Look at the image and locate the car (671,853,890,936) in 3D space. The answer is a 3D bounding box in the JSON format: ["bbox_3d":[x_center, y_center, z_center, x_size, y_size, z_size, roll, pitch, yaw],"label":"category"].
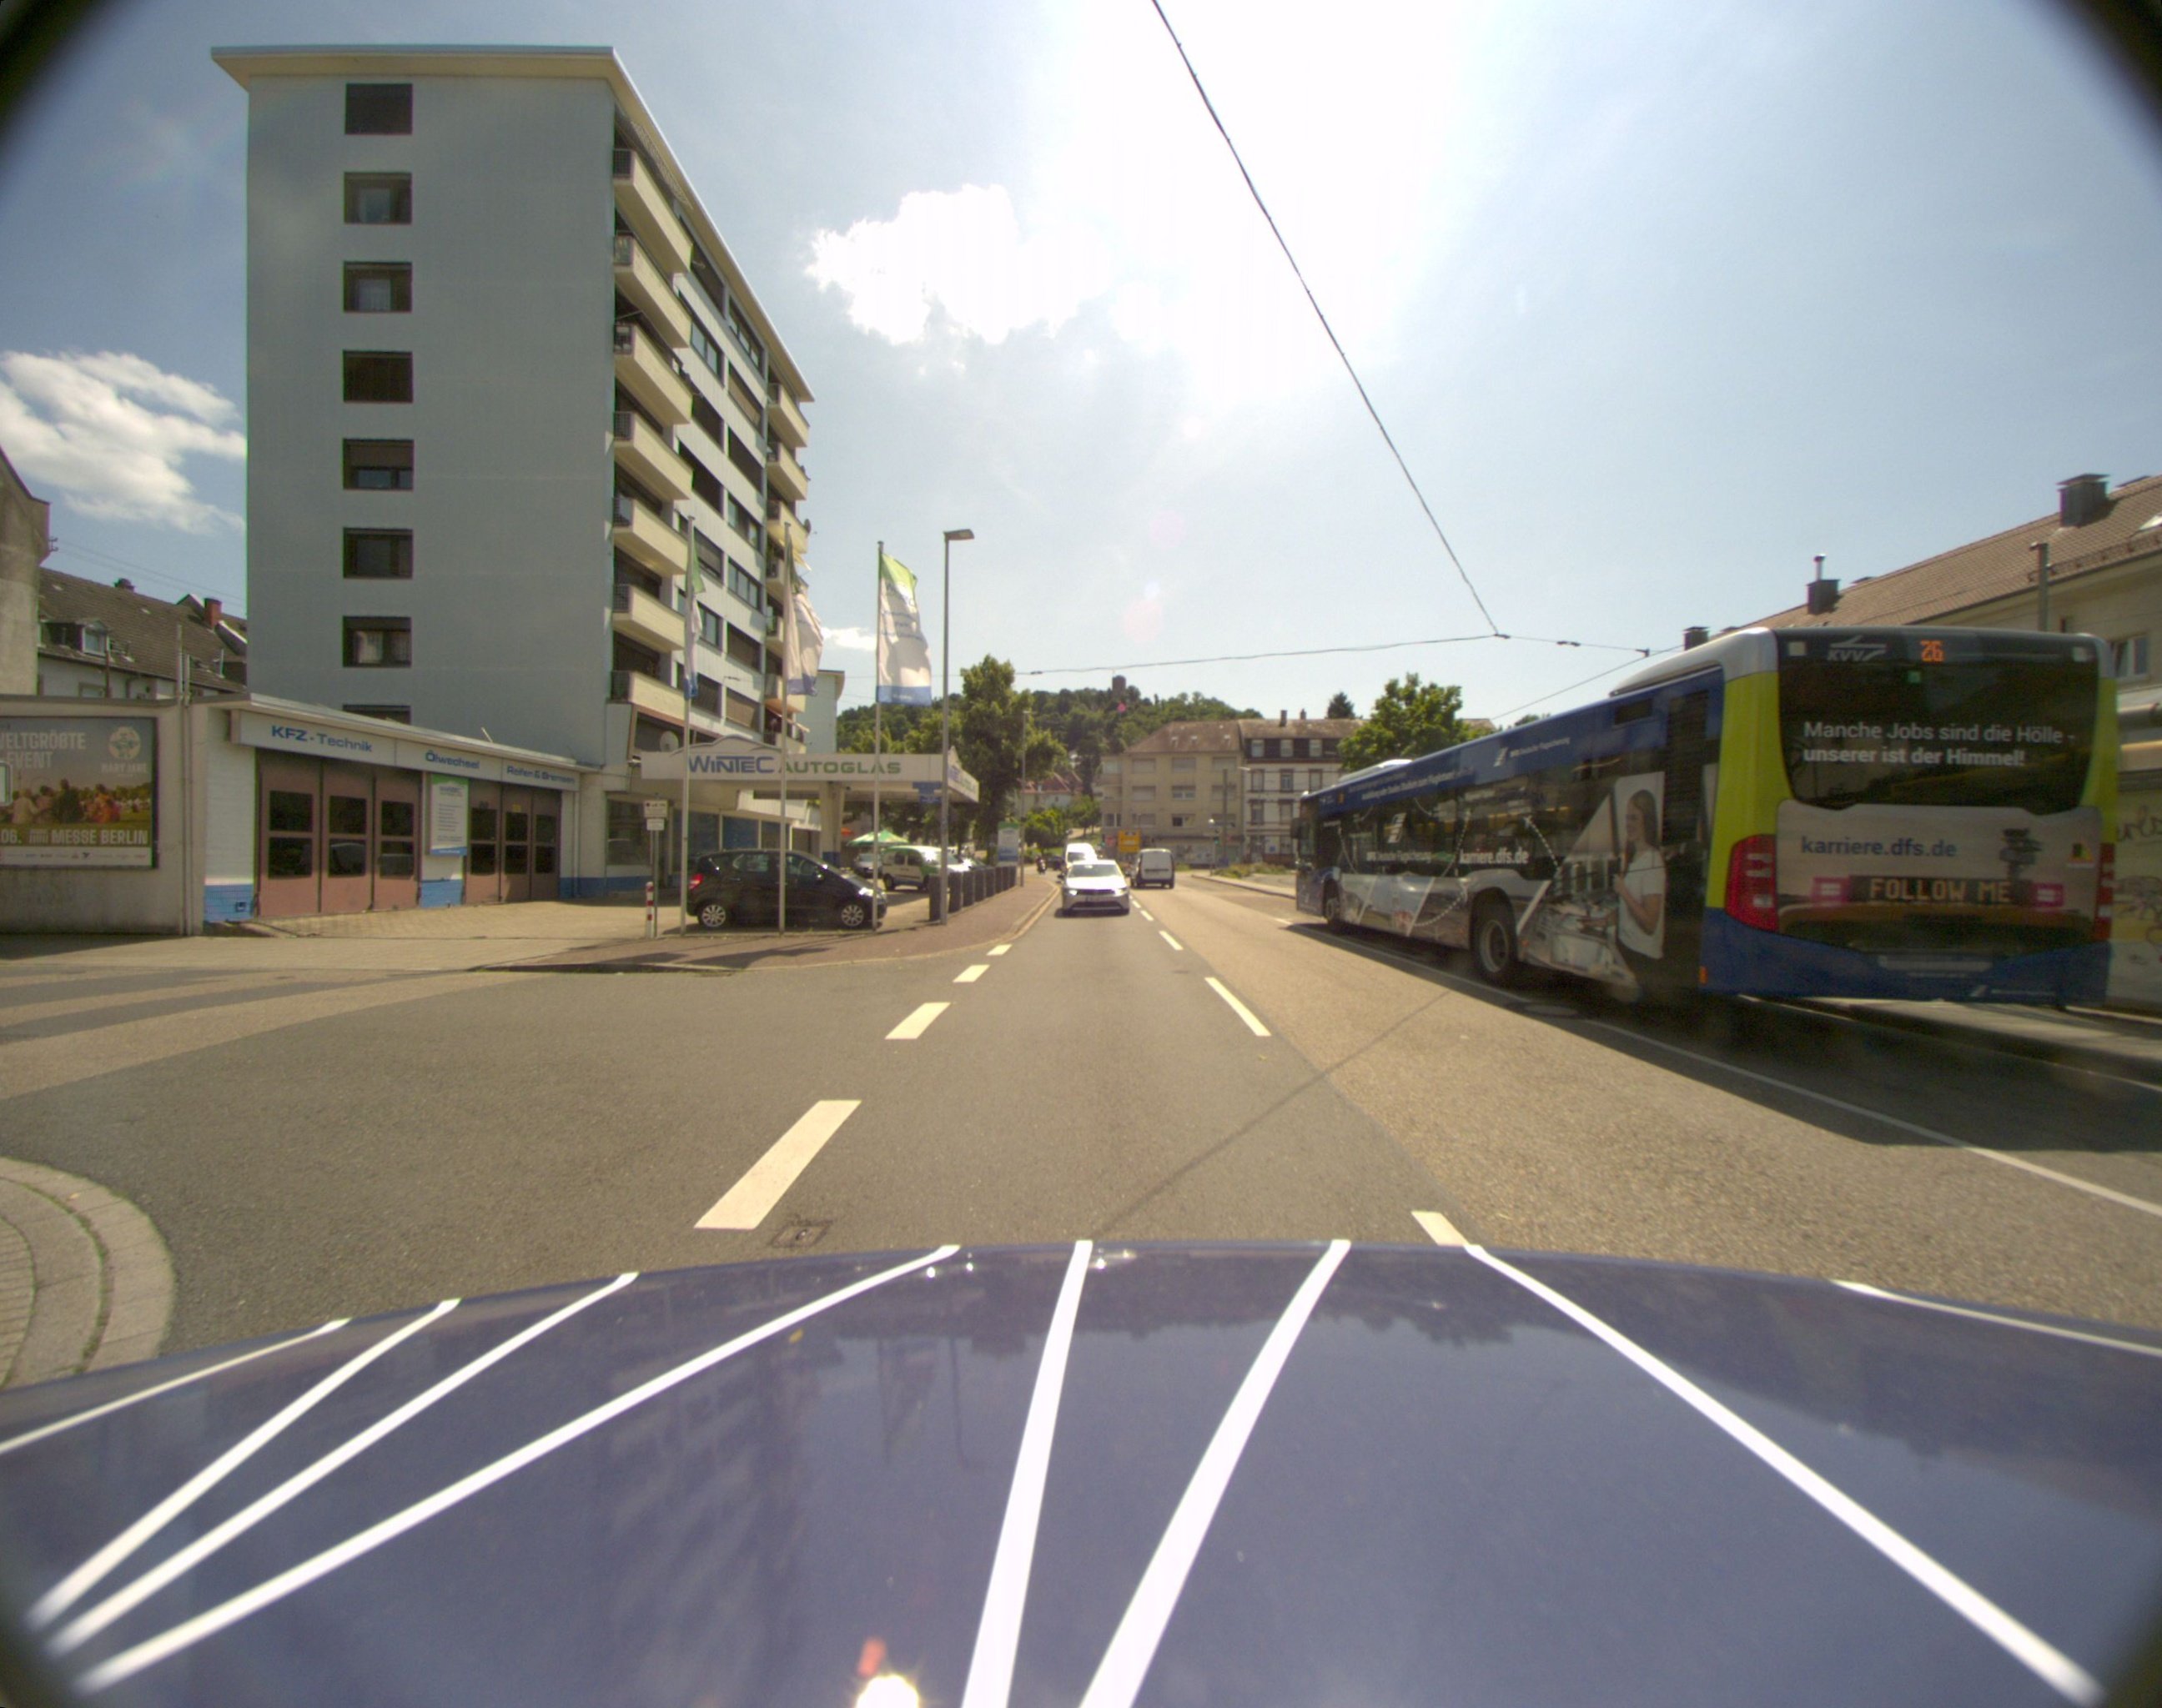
[{"bbox_3d":[-5.975,0.755,15.575,3.890,1.534,1.840,0,1,-12],"label":"car"}]

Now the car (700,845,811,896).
[{"bbox_3d":[-11.357,0.526,26.896,1.750,1.617,4.706,0,0,2],"label":"car"}]

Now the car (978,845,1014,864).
[{"bbox_3d":[-10.211,0.018,91.811,2.398,2.002,6.378,-2,1,12],"label":"car"}]

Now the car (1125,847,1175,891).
[{"bbox_3d":[3.183,0.636,35.871,1.708,1.840,4.711,-2,1,-2],"label":"car"}]

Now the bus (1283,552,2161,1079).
[{"bbox_3d":[5.997,-0.277,11.063,2.915,3.407,12.039,-2,0,0],"label":"bus"}]

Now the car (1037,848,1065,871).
[{"bbox_3d":[-2.359,0.412,61.071,1.998,1.609,3.999,-2,1,1],"label":"car"}]

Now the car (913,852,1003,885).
[{"bbox_3d":[-5.873,0.664,36.191,3.962,1.420,1.703,1,1,25],"label":"car"}]

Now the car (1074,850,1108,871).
[{"bbox_3d":[0.726,0.470,59.909,1.842,1.482,4.807,-1,1,-10],"label":"car"}]

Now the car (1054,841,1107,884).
[{"bbox_3d":[-0.099,0.431,44.012,2.000,2.258,5.438,-2,1,-11],"label":"car"}]

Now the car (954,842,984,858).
[{"bbox_3d":[-15.749,-0.587,106.926,2.398,2.002,5.385,-2,1,12],"label":"car"}]

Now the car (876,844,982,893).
[{"bbox_3d":[-6.148,0.561,30.512,4.277,1.779,1.827,-1,2,40],"label":"car"}]

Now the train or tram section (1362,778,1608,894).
[{"bbox_3d":[14.814,-0.570,29.794,2.970,3.475,12.713,-2,0,1],"label":"train or tram section"}]

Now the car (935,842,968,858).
[{"bbox_3d":[-17.065,-0.579,100.377,2.398,2.002,5.385,-2,1,12],"label":"car"}]

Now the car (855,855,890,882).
[{"bbox_3d":[-12.109,0.793,44.059,1.715,1.392,4.276,-1,1,-18],"label":"car"}]

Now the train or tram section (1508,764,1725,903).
[{"bbox_3d":[14.727,-0.523,21.347,2.970,3.475,4.417,1,0,1],"label":"train or tram section"}]

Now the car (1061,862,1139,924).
[{"bbox_3d":[0.407,0.958,20.550,1.819,1.371,4.390,-1,1,-2],"label":"car"}]

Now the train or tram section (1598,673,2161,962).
[{"bbox_3d":[14.543,-0.499,12.927,2.970,3.475,12.656,-2,0,1],"label":"train or tram section"}]
